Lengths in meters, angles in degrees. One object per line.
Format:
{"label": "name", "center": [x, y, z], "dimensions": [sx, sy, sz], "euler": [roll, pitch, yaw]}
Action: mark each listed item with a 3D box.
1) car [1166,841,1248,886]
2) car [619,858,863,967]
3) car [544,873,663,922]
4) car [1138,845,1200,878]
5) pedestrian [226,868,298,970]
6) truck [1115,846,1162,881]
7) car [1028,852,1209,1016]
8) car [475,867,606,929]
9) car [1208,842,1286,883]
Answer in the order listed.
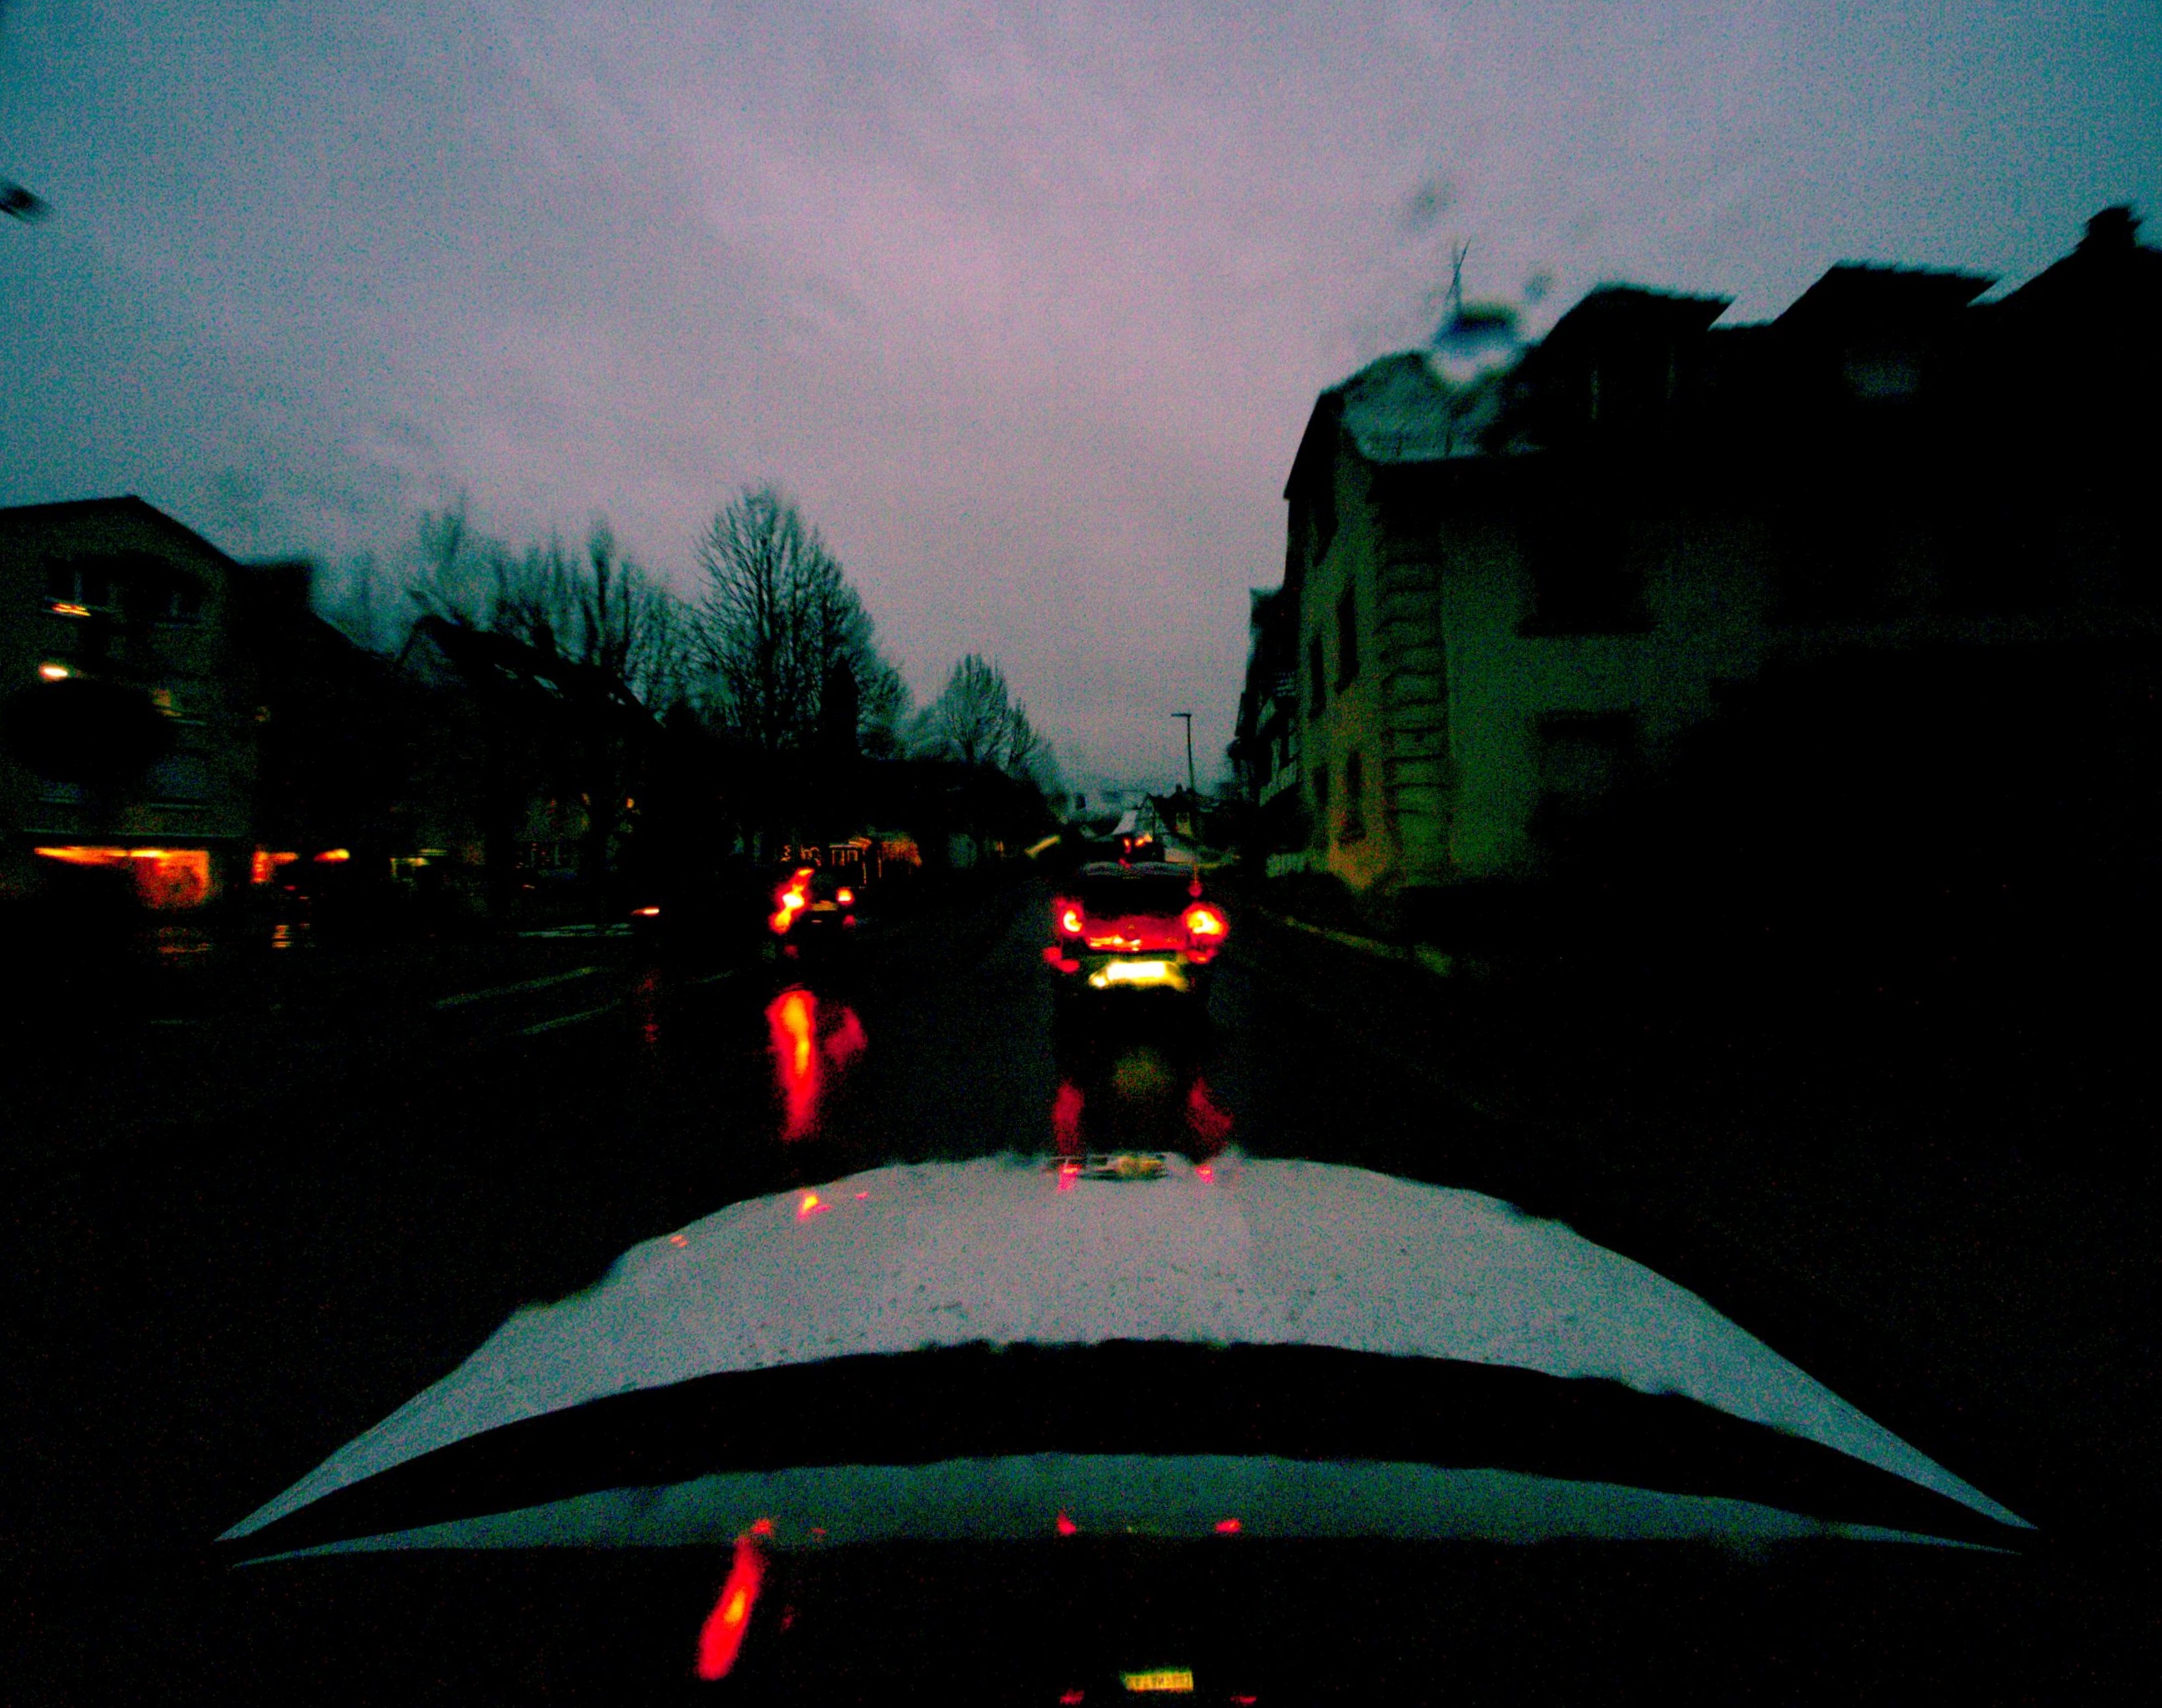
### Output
{"label": "car", "center": [6.505, 0.489, 42.130], "dimensions": [4.073, 2.163, 1.918], "euler": [-1, 0, 8]}
{"label": "car", "center": [-5.210, 0.819, 12.534], "dimensions": [3.231, 1.481, 1.652], "euler": [0, 0, 23]}
{"label": "car", "center": [-18.276, 1.626, 31.188], "dimensions": [3.953, 1.730, 1.829], "euler": [-1, 0, 21]}
{"label": "car", "center": [6.023, 0.488, 55.582], "dimensions": [4.073, 2.151, 1.918], "euler": [-1, 0, 9]}
{"label": "pedestrian", "center": [-12.252, 0.943, 12.205], "dimensions": [0.653, 1.458, 0.643], "euler": [0, 0, -35]}
{"label": "truck", "center": [5.636, 0.902, 78.290], "dimensions": [2.993, 3.128, 8.033], "euler": [-1, 0, 15]}
{"label": "car", "center": [0.398, 0.745, 9.099], "dimensions": [1.632, 1.481, 3.380], "euler": [0, -1, 2]}
{"label": "car", "center": [-18.833, 1.501, 28.406], "dimensions": [3.953, 1.988, 1.829], "euler": [-1, 0, 21]}
{"label": "car", "center": [9.004, 0.465, 44.460], "dimensions": [4.073, 2.151, 1.918], "euler": [-1, 0, 9]}
